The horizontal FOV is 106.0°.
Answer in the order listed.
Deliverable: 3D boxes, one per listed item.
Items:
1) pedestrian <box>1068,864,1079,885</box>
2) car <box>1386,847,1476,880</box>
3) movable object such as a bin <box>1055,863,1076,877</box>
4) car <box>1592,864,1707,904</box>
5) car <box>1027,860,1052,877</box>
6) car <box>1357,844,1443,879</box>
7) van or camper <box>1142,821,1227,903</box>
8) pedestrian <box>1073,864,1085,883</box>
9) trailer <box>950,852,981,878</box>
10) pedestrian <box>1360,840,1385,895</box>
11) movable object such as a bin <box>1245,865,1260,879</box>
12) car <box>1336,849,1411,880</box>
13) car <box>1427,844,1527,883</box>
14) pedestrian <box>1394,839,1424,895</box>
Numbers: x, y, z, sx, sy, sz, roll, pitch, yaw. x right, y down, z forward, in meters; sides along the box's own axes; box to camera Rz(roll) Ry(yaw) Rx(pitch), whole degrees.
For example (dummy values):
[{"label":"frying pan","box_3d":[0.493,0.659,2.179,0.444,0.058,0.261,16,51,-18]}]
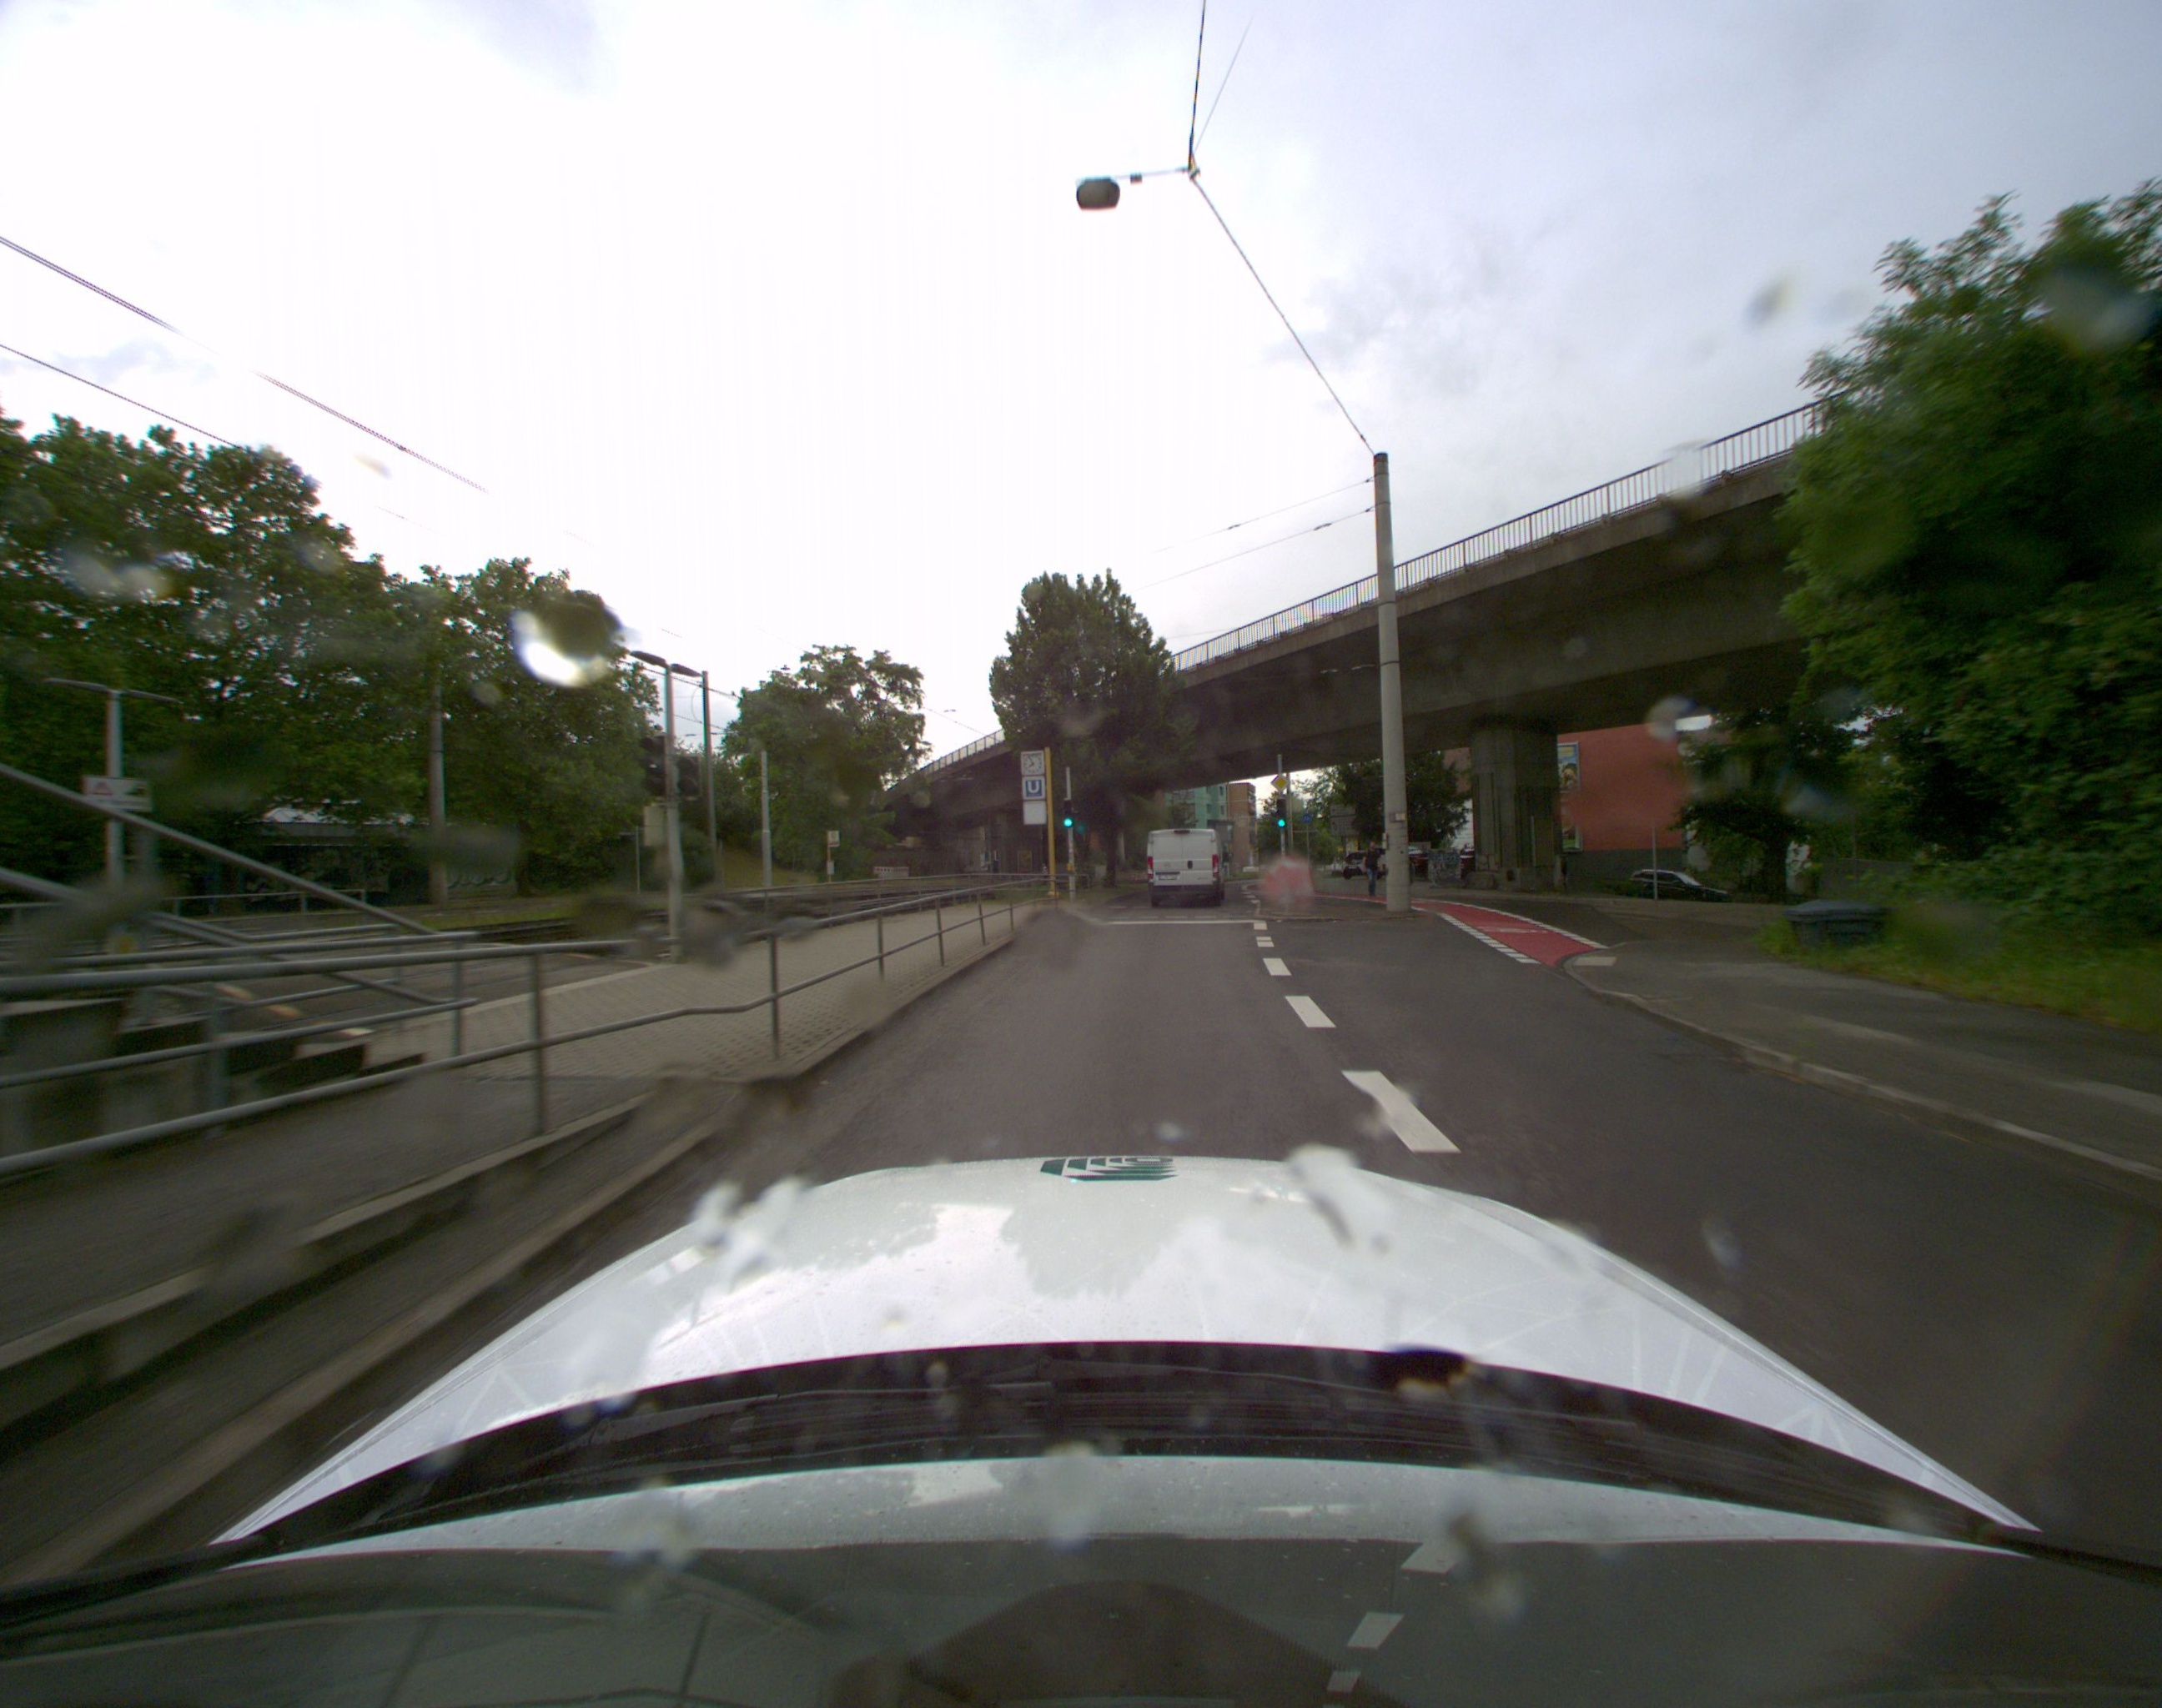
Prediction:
[{"label":"pedestrian","box_3d":[-0.668,1.846,72.598,0.687,1.831,0.872,-1,-1,29]},{"label":"car","box_3d":[15.886,0.406,36.917,4.064,1.439,1.769,0,-1,-32]},{"label":"movable object such as a bin","box_3d":[-1.656,1.658,86.139,1.564,1.479,1.787,0,0,-26]},{"label":"car","box_3d":[25.561,1.315,36.789,3.951,1.596,2.012,1,0,25]},{"label":"car","box_3d":[-4.408,1.517,86.319,1.721,1.667,3.174,1,0,-22]},{"label":"car","box_3d":[15.749,0.364,40.167,4.038,1.631,1.947,0,-1,-32]},{"label":"van or camper","box_3d":[3.268,0.255,24.910,2.184,2.253,4.698,0,-1,12]},{"label":"pedestrian","box_3d":[-0.149,1.712,71.878,0.687,1.670,0.893,-1,-1,32]},{"label":"trailer","box_3d":[-12.309,1.158,86.696,2.005,2.725,4.086,0,-1,-28]},{"label":"pedestrian","box_3d":[9.694,0.448,27.112,0.622,1.808,0.838,0,-1,8]},{"label":"movable object such as a bin","box_3d":[26.964,2.852,128.057,2.115,2.157,1.811,0,0,21]},{"label":"car","box_3d":[15.341,0.540,42.703,3.749,1.522,1.784,0,-1,-32]},{"label":"car","box_3d":[16.660,0.433,34.249,4.011,1.572,1.887,1,-1,-30]},{"label":"pedestrian","box_3d":[10.861,0.438,26.976,0.596,1.822,0.908,1,-1,-5]}]
